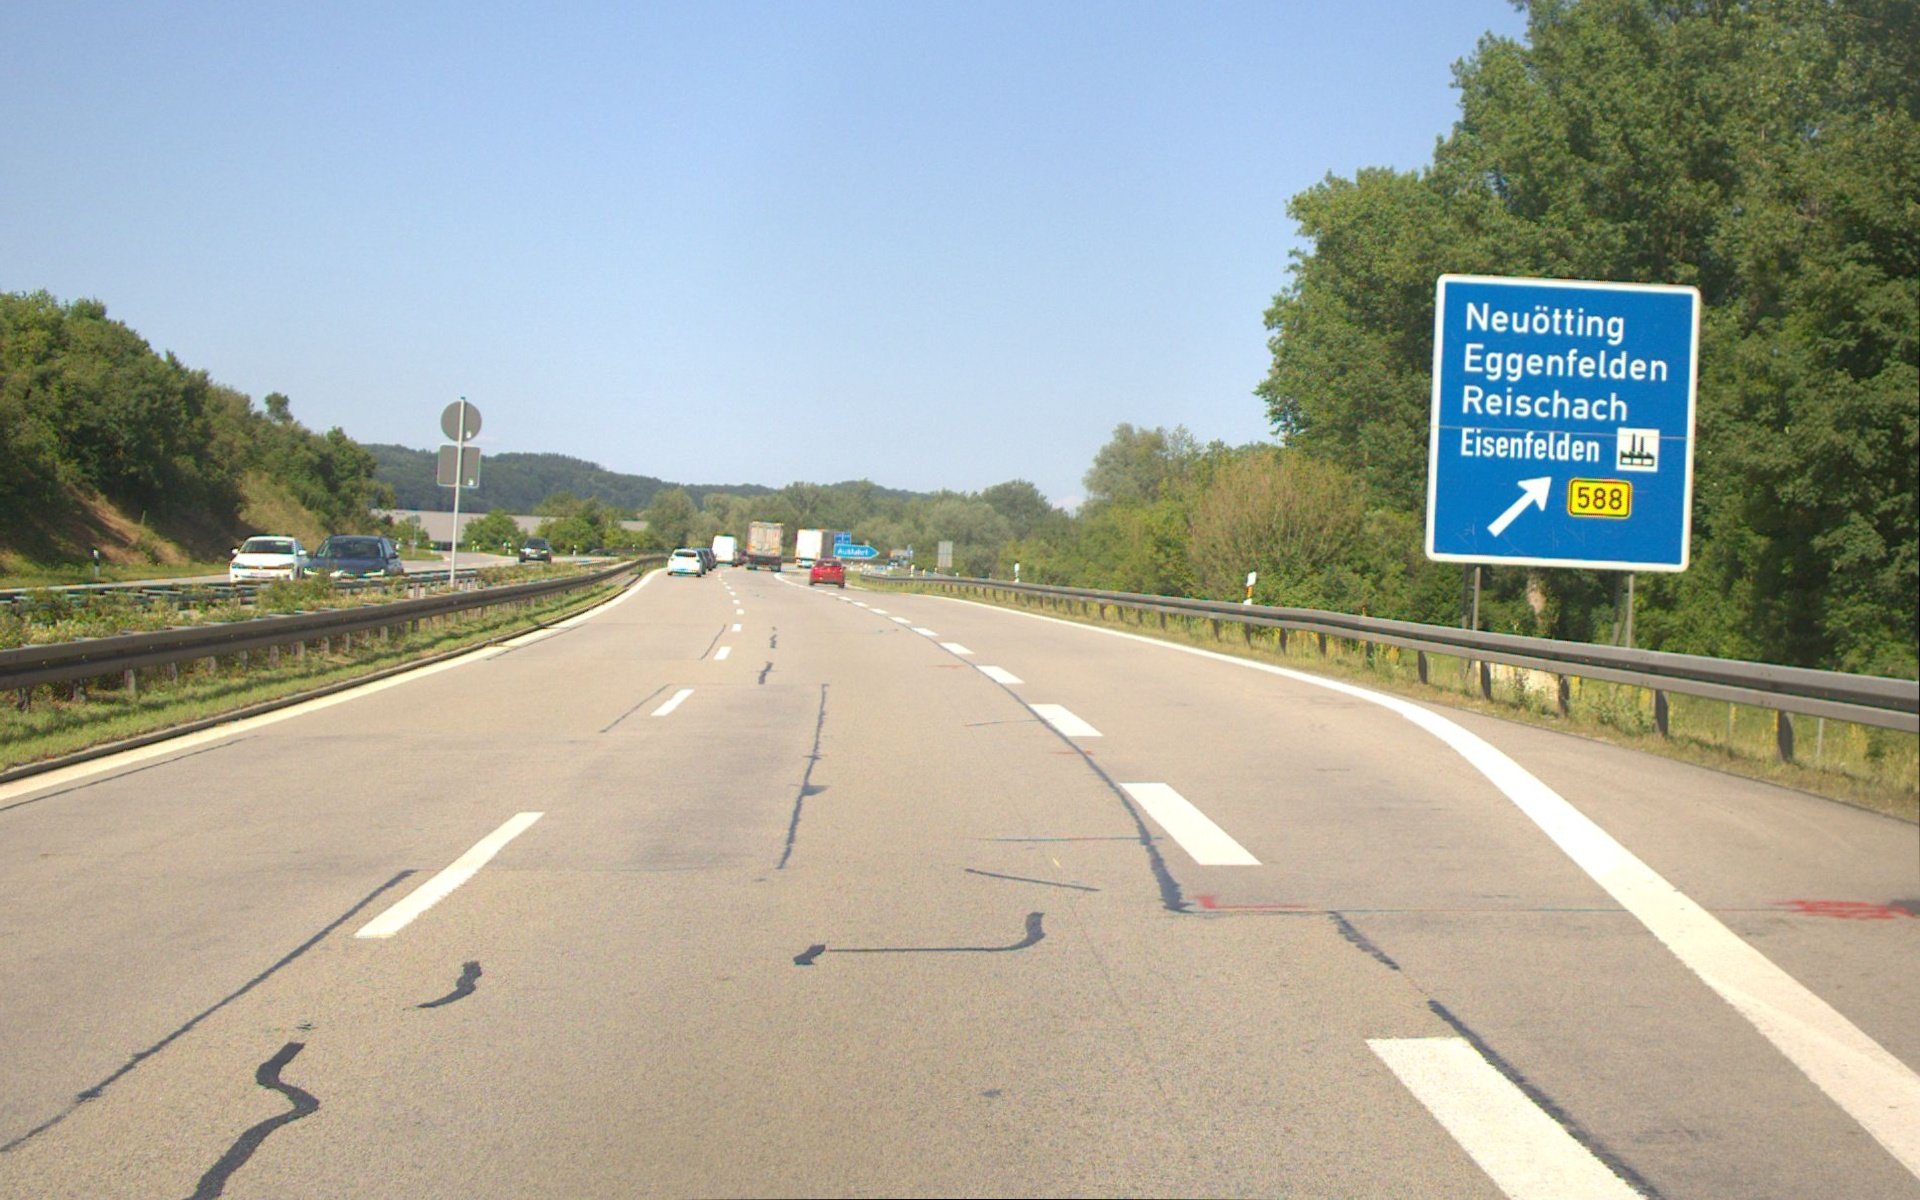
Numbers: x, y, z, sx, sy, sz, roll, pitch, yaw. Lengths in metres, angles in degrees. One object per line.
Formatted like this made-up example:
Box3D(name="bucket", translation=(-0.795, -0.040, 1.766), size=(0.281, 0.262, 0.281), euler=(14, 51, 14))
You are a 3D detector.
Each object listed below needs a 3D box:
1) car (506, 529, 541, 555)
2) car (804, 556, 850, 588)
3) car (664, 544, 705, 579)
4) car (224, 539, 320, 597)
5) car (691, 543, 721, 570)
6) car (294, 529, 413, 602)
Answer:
Box3D(name="car", translation=(-29.267, -3.854, 230.653), size=(1.993, 1.639, 5.084), euler=(1, 0, -4))
Box3D(name="car", translation=(-6.809, -1.430, 175.865), size=(1.784, 1.426, 3.999), euler=(5, 0, 4))
Box3D(name="car", translation=(-14.559, -2.018, 181.768), size=(2.061, 1.619, 4.000), euler=(1, -2, -4))
Box3D(name="car", translation=(-18.138, -0.868, 90.784), size=(1.839, 1.434, 4.413), euler=(1, 1, -3))
Box3D(name="car", translation=(-17.347, -2.950, 234.789), size=(1.993, 1.744, 4.001), euler=(3, 1, -4))
Box3D(name="car", translation=(-13.292, -0.759, 75.582), size=(1.993, 1.540, 4.677), euler=(0, 1, -3))
